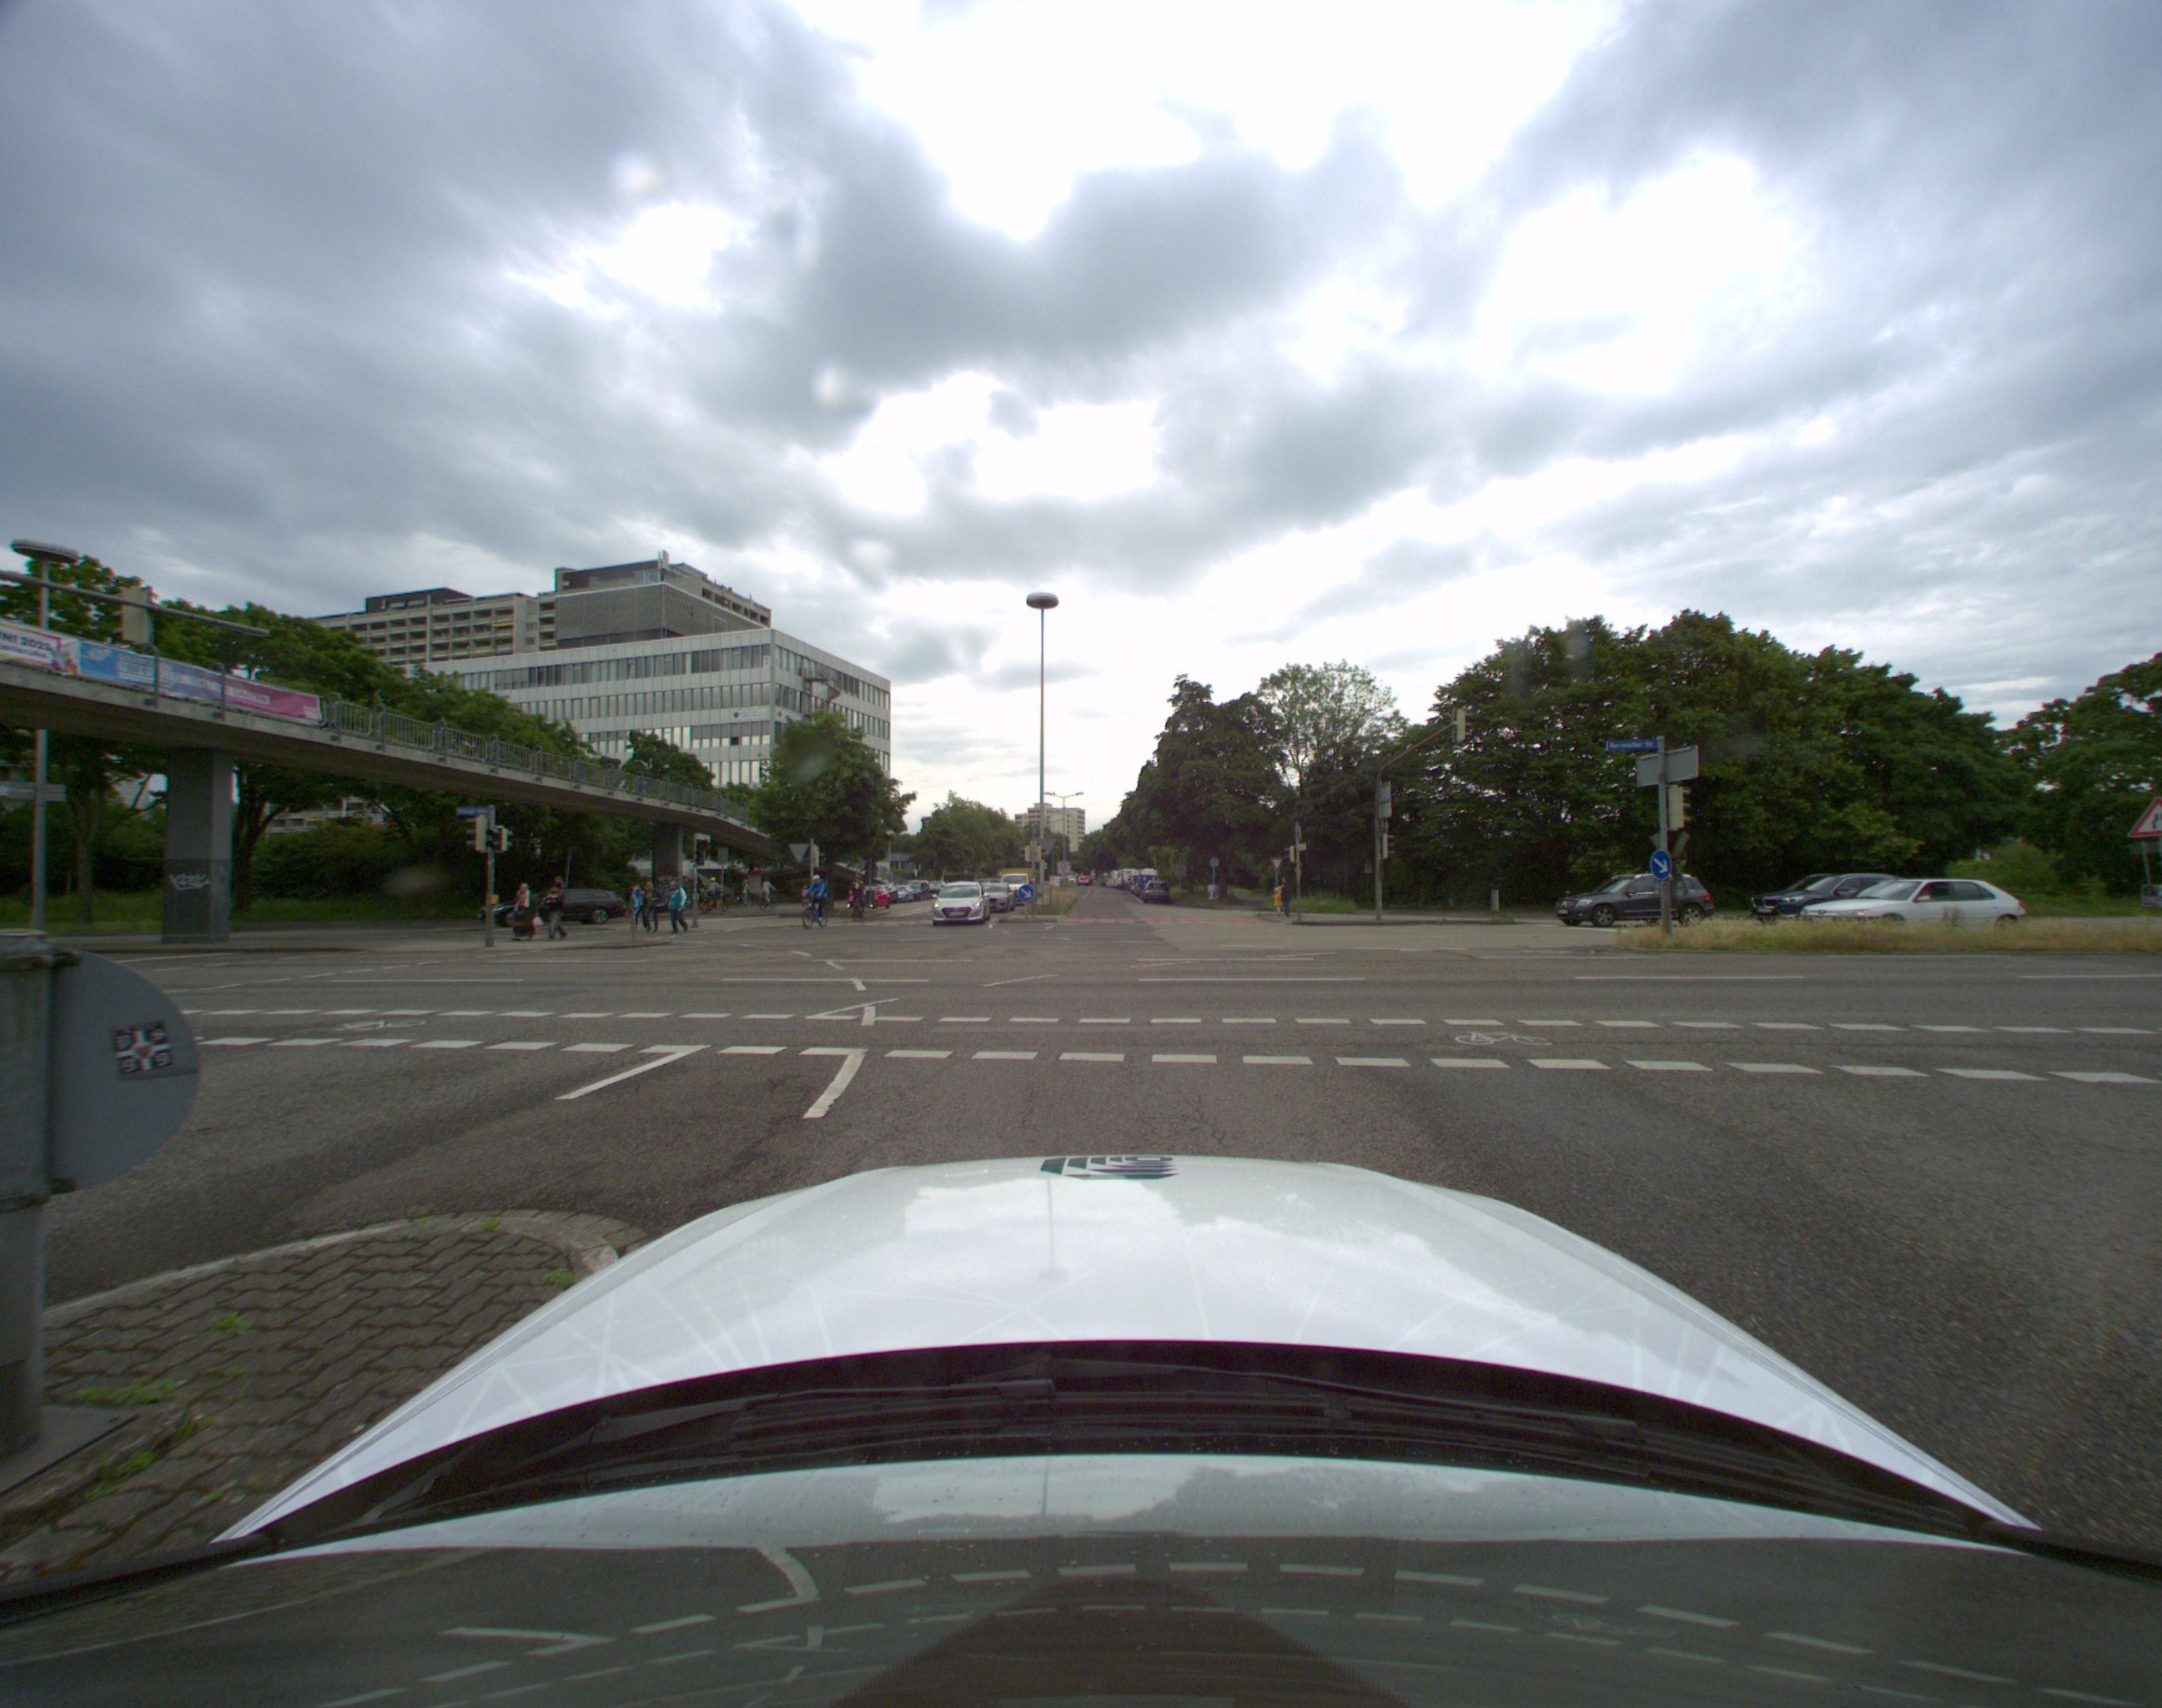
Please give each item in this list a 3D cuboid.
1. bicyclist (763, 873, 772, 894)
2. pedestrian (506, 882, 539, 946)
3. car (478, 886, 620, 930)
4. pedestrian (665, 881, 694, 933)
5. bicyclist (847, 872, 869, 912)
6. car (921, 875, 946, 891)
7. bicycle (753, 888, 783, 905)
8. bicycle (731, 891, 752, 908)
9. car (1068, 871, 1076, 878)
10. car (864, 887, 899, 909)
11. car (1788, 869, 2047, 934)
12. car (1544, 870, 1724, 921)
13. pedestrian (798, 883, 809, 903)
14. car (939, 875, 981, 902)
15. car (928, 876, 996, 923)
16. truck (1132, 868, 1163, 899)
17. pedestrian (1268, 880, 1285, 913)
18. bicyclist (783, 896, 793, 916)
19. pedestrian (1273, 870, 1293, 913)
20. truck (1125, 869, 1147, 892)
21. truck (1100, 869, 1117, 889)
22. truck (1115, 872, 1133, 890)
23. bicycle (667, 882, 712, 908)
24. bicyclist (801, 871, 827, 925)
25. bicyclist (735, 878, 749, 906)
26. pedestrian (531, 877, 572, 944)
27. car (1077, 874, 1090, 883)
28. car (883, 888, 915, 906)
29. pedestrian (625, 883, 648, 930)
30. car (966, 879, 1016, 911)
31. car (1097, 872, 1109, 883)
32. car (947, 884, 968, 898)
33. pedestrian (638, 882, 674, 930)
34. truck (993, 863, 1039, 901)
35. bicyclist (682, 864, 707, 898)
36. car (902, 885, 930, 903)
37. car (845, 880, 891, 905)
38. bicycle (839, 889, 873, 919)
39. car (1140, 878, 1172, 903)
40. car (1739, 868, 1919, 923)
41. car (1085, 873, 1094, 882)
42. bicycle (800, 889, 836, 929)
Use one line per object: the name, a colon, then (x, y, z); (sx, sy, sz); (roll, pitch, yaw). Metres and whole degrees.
bicyclist: (-17.971, 1.693, 46.671); (0.403, 1.182, 0.377); (-1, -1, 1)
pedestrian: (-15.147, 1.612, 22.091); (0.619, 1.691, 0.403); (0, -2, -15)
car: (-20.735, 2.060, 31.866); (4.423, 1.508, 1.652); (0, -2, -44)
pedestrian: (-12.698, 1.673, 25.752); (0.686, 1.605, 0.487); (0, -2, -5)
bicyclist: (-8.972, 1.515, 32.781); (0.677, 1.595, 0.694); (-1, -3, -1)
car: (-14.302, 2.799, 79.152); (1.669, 1.488, 4.001); (-1, -1, 1)
bicycle: (-17.895, 2.417, 46.630); (0.758, 0.949, 1.956); (-1, -2, 6)
bicycle: (-20.229, 2.723, 48.551); (0.524, 0.949, 1.709); (-1, -2, 0)
car: (-2.160, 5.057, 200.807); (2.014, 1.505, 3.998); (-1, -2, -1)
car: (-14.903, 3.242, 60.944); (1.666, 1.552, 3.891); (-1, -2, 0)
car: (18.713, 1.050, 18.345); (4.123, 1.357, 1.647); (-1, -2, 0)
car: (17.402, 1.297, 25.770); (4.450, 1.504, 1.845); (-1, -2, 0)
pedestrian: (-17.482, 2.455, 51.352); (0.498, 1.271, 0.459); (0, -2, 1)
car: (-6.941, 1.963, 47.031); (1.764, 1.478, 4.388); (-1, -2, 0)
car: (-4.147, 1.624, 28.947); (1.783, 1.519, 4.323); (-1, -3, 0)
truck: (6.025, 2.717, 74.468); (2.168, 2.657, 6.242); (-1, -2, -1)
pedestrian: (8.100, 1.738, 33.731); (0.525, 1.342, 0.524); (-1, -2, -1)
bicyclist: (-18.713, 3.321, 52.061); (0.429, 1.218, 0.567); (-1, -2, -2)
pedestrian: (8.206, 1.527, 33.113); (0.655, 1.750, 0.459); (-1, -2, -1)
truck: (6.975, 3.339, 103.823); (1.990, 2.838, 5.721); (-1, -2, -4)
truck: (4.272, 3.872, 126.624); (1.989, 3.009, 5.763); (-1, -2, -4)
truck: (6.049, 3.868, 115.861); (1.989, 2.573, 5.372); (-1, -2, -3)
bicycle: (-21.710, 2.247, 45.236); (0.853, 1.315, 3.230); (-1, -1, 2)
bicyclist: (-8.928, 1.454, 27.269); (0.642, 1.769, 0.646); (-1, -2, -1)
bicyclist: (-20.295, 2.261, 48.743); (0.563, 1.645, 0.531); (-1, -3, 0)
pedestrian: (-14.459, 1.526, 22.258); (0.637, 1.804, 0.799); (0, -2, -10)
car: (0.426, 4.237, 141.251); (2.016, 1.505, 3.995); (-1, -2, -3)
car: (-14.796, 3.490, 66.434); (1.666, 1.387, 3.894); (-1, -2, 0)
pedestrian: (-15.209, 1.790, 27.876); (0.580, 1.579, 0.776); (0, -2, -19)
car: (-4.375, 1.992, 40.265); (1.890, 1.420, 4.736); (-1, -1, 1)
car: (3.884, 4.067, 142.590); (1.648, 1.918, 3.912); (-1, -1, -4)
car: (-13.945, 4.156, 92.084); (1.666, 1.552, 3.999); (-1, -2, 0)
pedestrian: (-13.513, 1.647, 25.881); (0.918, 1.511, 0.402); (0, -2, -12)
truck: (-4.005, 1.749, 51.020); (2.147, 2.199, 5.842); (-1, -2, 2)
bicyclist: (-21.664, 1.498, 45.630); (0.853, 1.893, 1.128); (-1, -1, 1)
car: (-14.531, 3.510, 71.768); (1.666, 1.552, 3.761); (-1, -2, 0)
car: (-12.542, 2.254, 48.089); (1.505, 1.390, 3.537); (-1, -2, 5)
bicycle: (-8.986, 1.987, 32.603); (0.724, 1.101, 2.263); (-1, -2, -1)
car: (5.275, 2.558, 57.654); (1.778, 1.662, 3.998); (-1, -2, -1)
car: (23.487, 1.296, 25.675); (3.976, 1.618, 1.877); (-1, -2, -2)
car: (1.587, 4.529, 155.787); (1.394, 1.633, 3.476); (0, -2, -7)
bicycle: (-8.864, 1.819, 27.526); (0.541, 1.267, 2.109); (-1, -2, -1)
